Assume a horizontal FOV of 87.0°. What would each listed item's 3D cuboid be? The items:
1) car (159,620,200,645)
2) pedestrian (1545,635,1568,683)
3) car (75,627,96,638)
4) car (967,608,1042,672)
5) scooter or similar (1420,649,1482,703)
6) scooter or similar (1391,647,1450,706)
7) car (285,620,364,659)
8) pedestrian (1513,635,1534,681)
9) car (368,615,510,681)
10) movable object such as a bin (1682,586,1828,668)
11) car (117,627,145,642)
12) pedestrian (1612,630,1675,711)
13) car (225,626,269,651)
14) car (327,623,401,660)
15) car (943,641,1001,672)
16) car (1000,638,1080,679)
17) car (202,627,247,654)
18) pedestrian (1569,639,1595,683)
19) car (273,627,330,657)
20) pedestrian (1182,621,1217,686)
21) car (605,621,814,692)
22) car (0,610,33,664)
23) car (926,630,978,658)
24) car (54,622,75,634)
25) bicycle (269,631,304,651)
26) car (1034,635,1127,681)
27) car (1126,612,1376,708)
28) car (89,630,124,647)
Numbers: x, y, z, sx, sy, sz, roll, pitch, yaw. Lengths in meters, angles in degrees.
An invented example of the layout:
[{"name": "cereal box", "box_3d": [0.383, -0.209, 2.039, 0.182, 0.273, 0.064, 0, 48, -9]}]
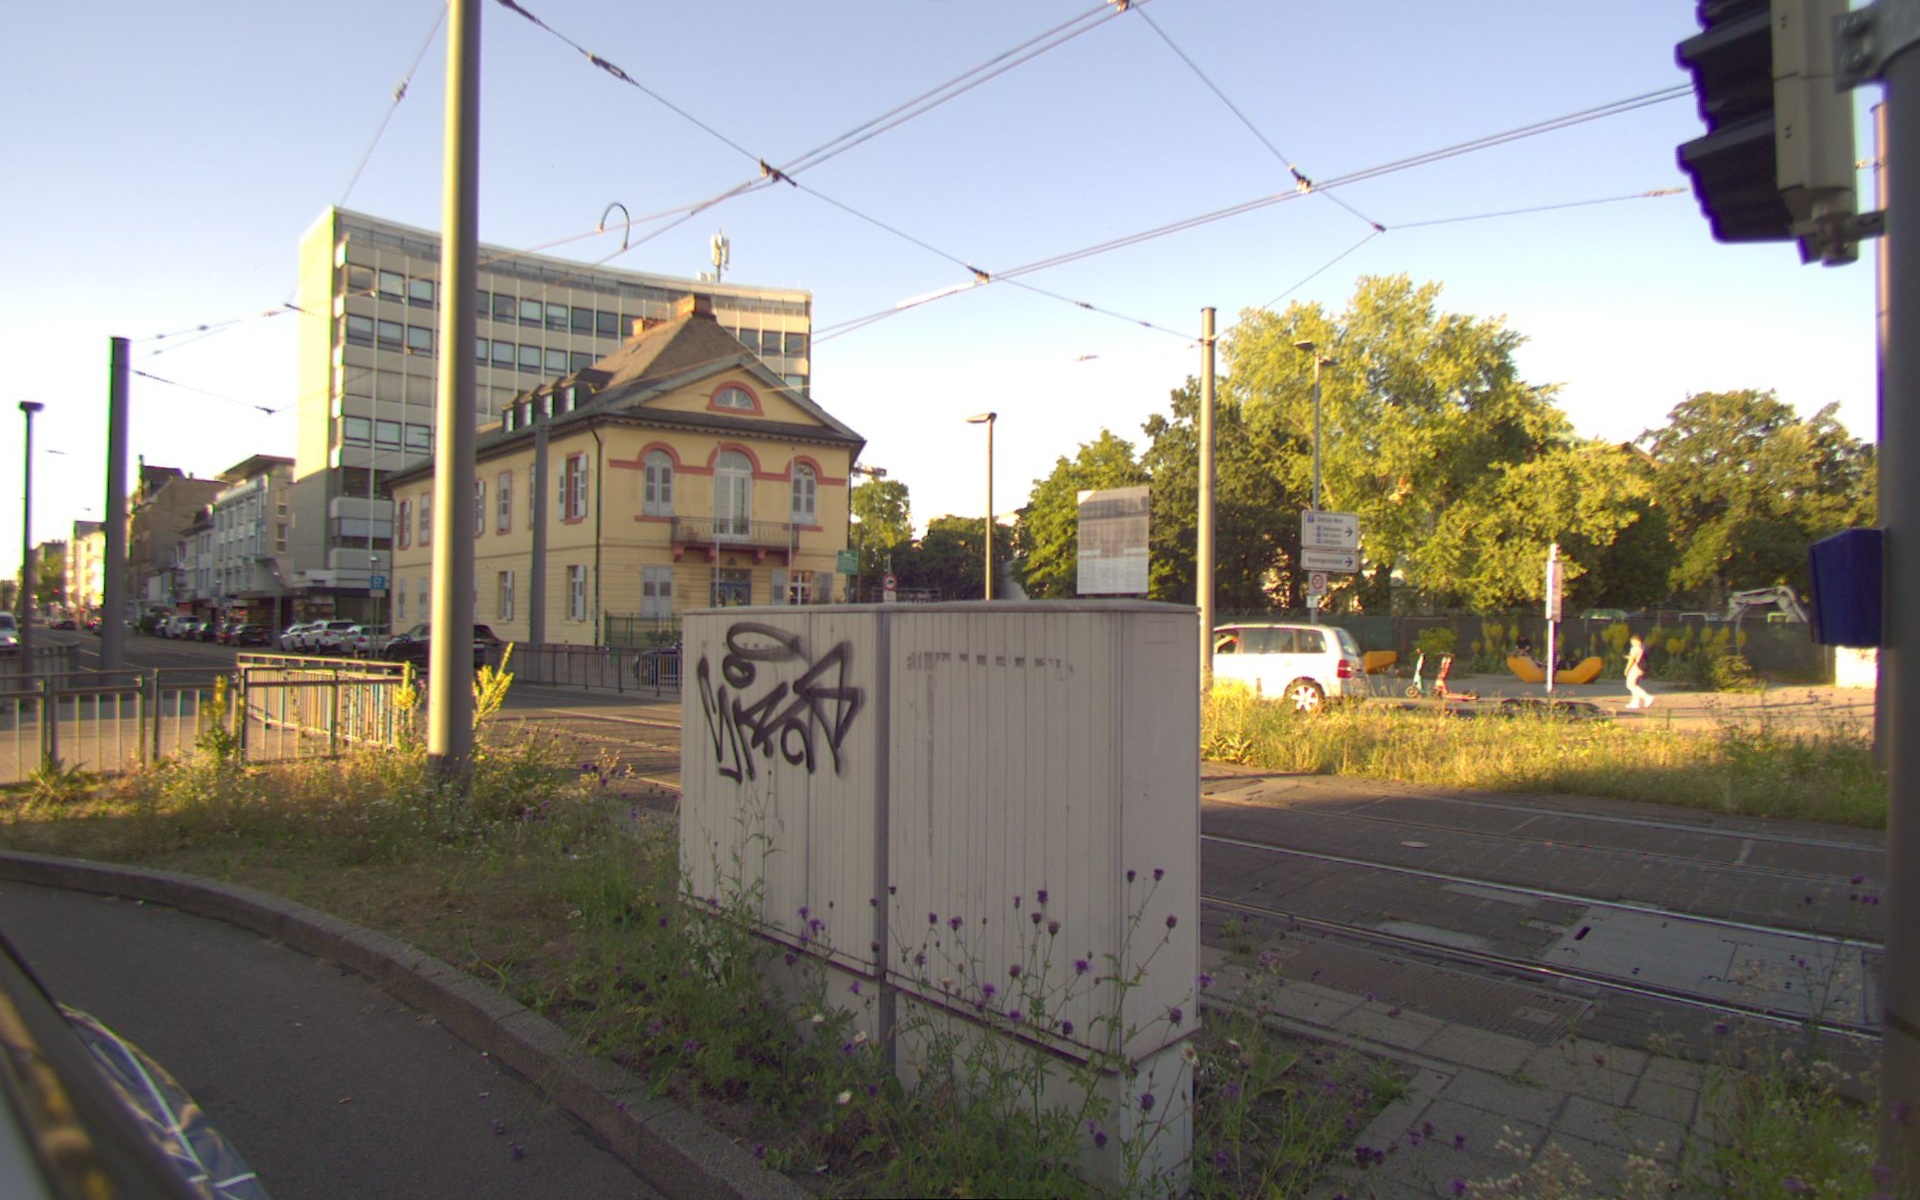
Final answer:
[{"name": "car", "box_3d": [-65.704, 2.752, 85.170, 5.164, 1.992, 1.933, -2, -3, 44]}, {"name": "pedestrian", "box_3d": [20.987, 2.075, 35.604, 0.599, 1.671, 0.529, -1, -3, 37]}, {"name": "car", "box_3d": [-128.388, 4.827, 148.528, 1.971, 1.564, 4.002, 2, -3, -45]}, {"name": "car", "box_3d": [1.902, 1.785, 45.099, 2.063, 2.650, 5.438, 1, -2, -12]}, {"name": "scooter or similar", "box_3d": [12.002, 1.855, 24.740, 1.240, 1.282, 0.516, 0, -2, 6]}, {"name": "scooter or similar", "box_3d": [11.591, 1.919, 25.482, 1.236, 1.457, 0.518, 1, -2, -8]}, {"name": "car", "box_3d": [-31.519, 1.945, 50.156, 4.490, 1.799, 1.796, -1, 1, 37]}, {"name": "pedestrian", "box_3d": [20.494, 2.098, 36.819, 0.597, 1.671, 0.531, -1, -3, 26]}, {"name": "car", "box_3d": [-16.226, 1.458, 31.442, 4.802, 1.916, 1.976, -1, -3, 36]}, {"name": "movable object such as a bin", "box_3d": [33.272, 1.136, 42.497, 1.966, 3.254, 4.357, 2, -2, -31]}, {"name": "car", "box_3d": [-89.454, 3.707, 109.204, 1.970, 1.556, 4.882, 1, -2, -44]}, {"name": "pedestrian", "box_3d": [16.245, 1.650, 24.053, 0.871, 1.882, 0.978, 2, -3, -37]}, {"name": "car", "box_3d": [-45.559, 2.463, 64.628, 1.666, 1.523, 4.218, 2, -3, -44]}, {"name": "car", "box_3d": [-27.521, 1.880, 46.690, 4.214, 1.629, 1.793, -1, -3, 43]}, {"name": "car", "box_3d": [0.554, 2.799, 50.587, 1.967, 1.497, 4.104, 1, -2, -13]}, {"name": "car", "box_3d": [3.066, 2.271, 39.738, 1.967, 1.497, 4.104, 1, -2, -13]}, {"name": "car", "box_3d": [-49.406, 2.711, 67.968, 1.667, 1.523, 4.218, 14, -11, -43]}, {"name": "pedestrian", "box_3d": [21.628, 2.104, 35.208, 0.625, 1.507, 0.632, -2, -3, 44]}, {"name": "car", "box_3d": [-35.651, 2.259, 54.725, 1.791, 1.523, 4.436, 3, -3, -43]}, {"name": "pedestrian", "box_3d": [7.164, 1.602, 30.272, 0.717, 1.907, 0.768, 1, -2, -21]}, {"name": "car", "box_3d": [-6.014, 1.358, 24.630, 4.532, 1.597, 1.995, 0, -2, 8]}, {"name": "car", "box_3d": [-34.021, 1.277, 35.491, 4.001, 1.830, 1.971, -2, -3, 44]}, {"name": "car", "box_3d": [-0.492, 2.399, 55.437, 1.967, 1.497, 4.104, 1, -2, -13]}, {"name": "car", "box_3d": [-119.817, 3.748, 135.404, 1.970, 1.564, 4.003, 2, -3, -44]}, {"name": "bicycle", "box_3d": [-49.050, 2.986, 73.741, 0.834, 1.436, 1.946, -2, -3, 43]}, {"name": "car", "box_3d": [4.093, 1.967, 35.042, 1.967, 1.497, 4.010, 1, -2, -13]}, {"name": "car", "box_3d": [5.391, 1.063, 18.872, 4.101, 1.597, 1.977, -1, -3, 33]}, {"name": "car", "box_3d": [-78.671, 3.508, 93.282, 4.031, 1.523, 1.717, -1, -3, 40]}]
